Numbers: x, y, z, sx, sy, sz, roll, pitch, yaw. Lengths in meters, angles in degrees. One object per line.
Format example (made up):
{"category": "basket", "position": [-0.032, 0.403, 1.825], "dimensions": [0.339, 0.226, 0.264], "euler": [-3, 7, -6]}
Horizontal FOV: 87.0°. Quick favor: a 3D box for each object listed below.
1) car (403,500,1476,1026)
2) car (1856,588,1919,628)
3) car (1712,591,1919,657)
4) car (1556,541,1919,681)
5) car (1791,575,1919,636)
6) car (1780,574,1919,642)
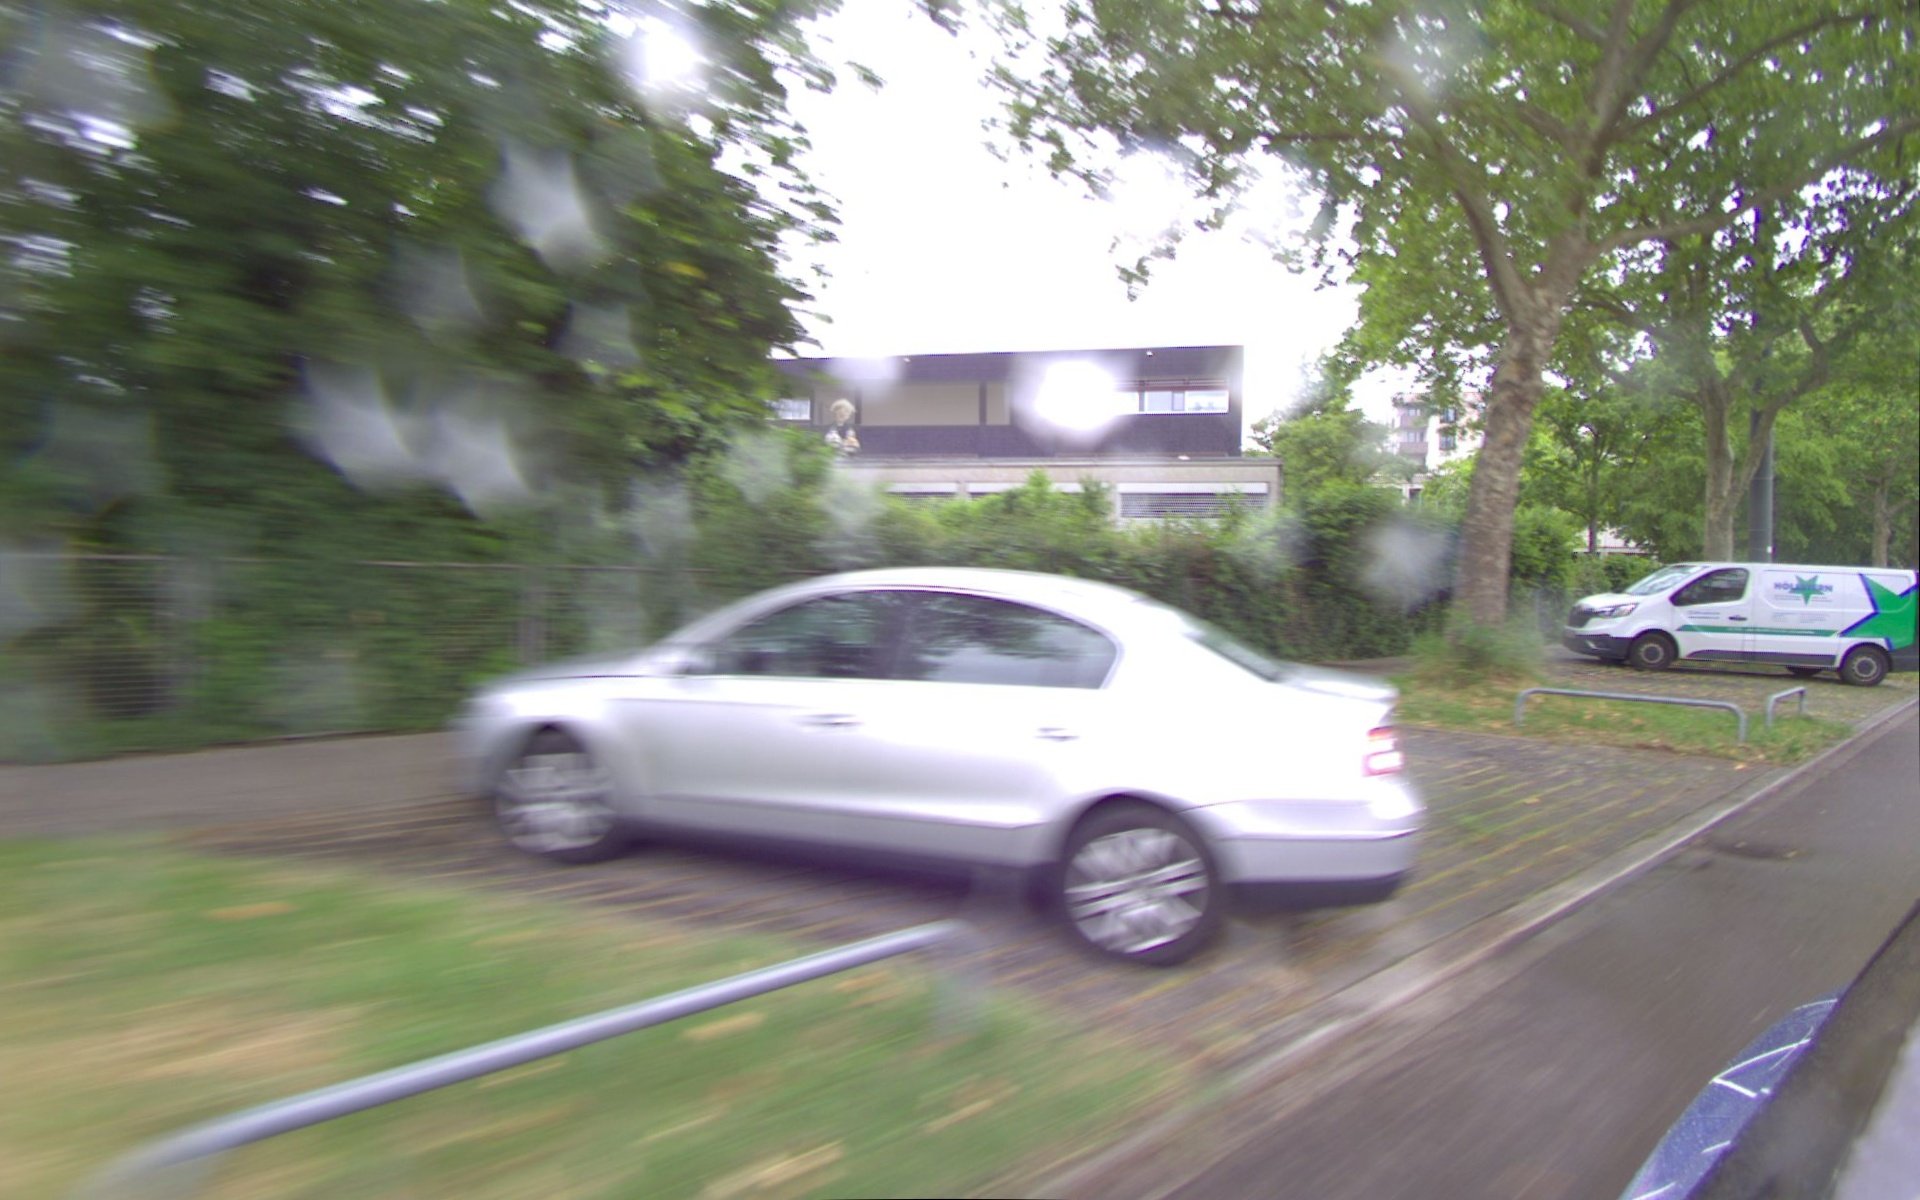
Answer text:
{"category": "car", "position": [-0.192, 0.467, 4.990], "dimensions": [4.501, 1.563, 1.877], "euler": [5, 2, 18]}
{"category": "car", "position": [38.035, 0.359, 39.589], "dimensions": [4.002, 1.435, 1.736], "euler": [3, 3, 13]}
{"category": "car", "position": [20.677, 0.552, 23.966], "dimensions": [4.236, 1.401, 1.736], "euler": [1, 1, 10]}
{"category": "car", "position": [13.528, 0.135, 17.597], "dimensions": [4.958, 2.038, 1.991], "euler": [3, 1, 15]}
{"category": "car", "position": [27.567, 0.156, 30.129], "dimensions": [3.985, 1.661, 1.649], "euler": [2, 2, 12]}
{"category": "car", "position": [25.425, 0.203, 28.415], "dimensions": [3.229, 1.691, 1.586], "euler": [3, 3, 15]}
